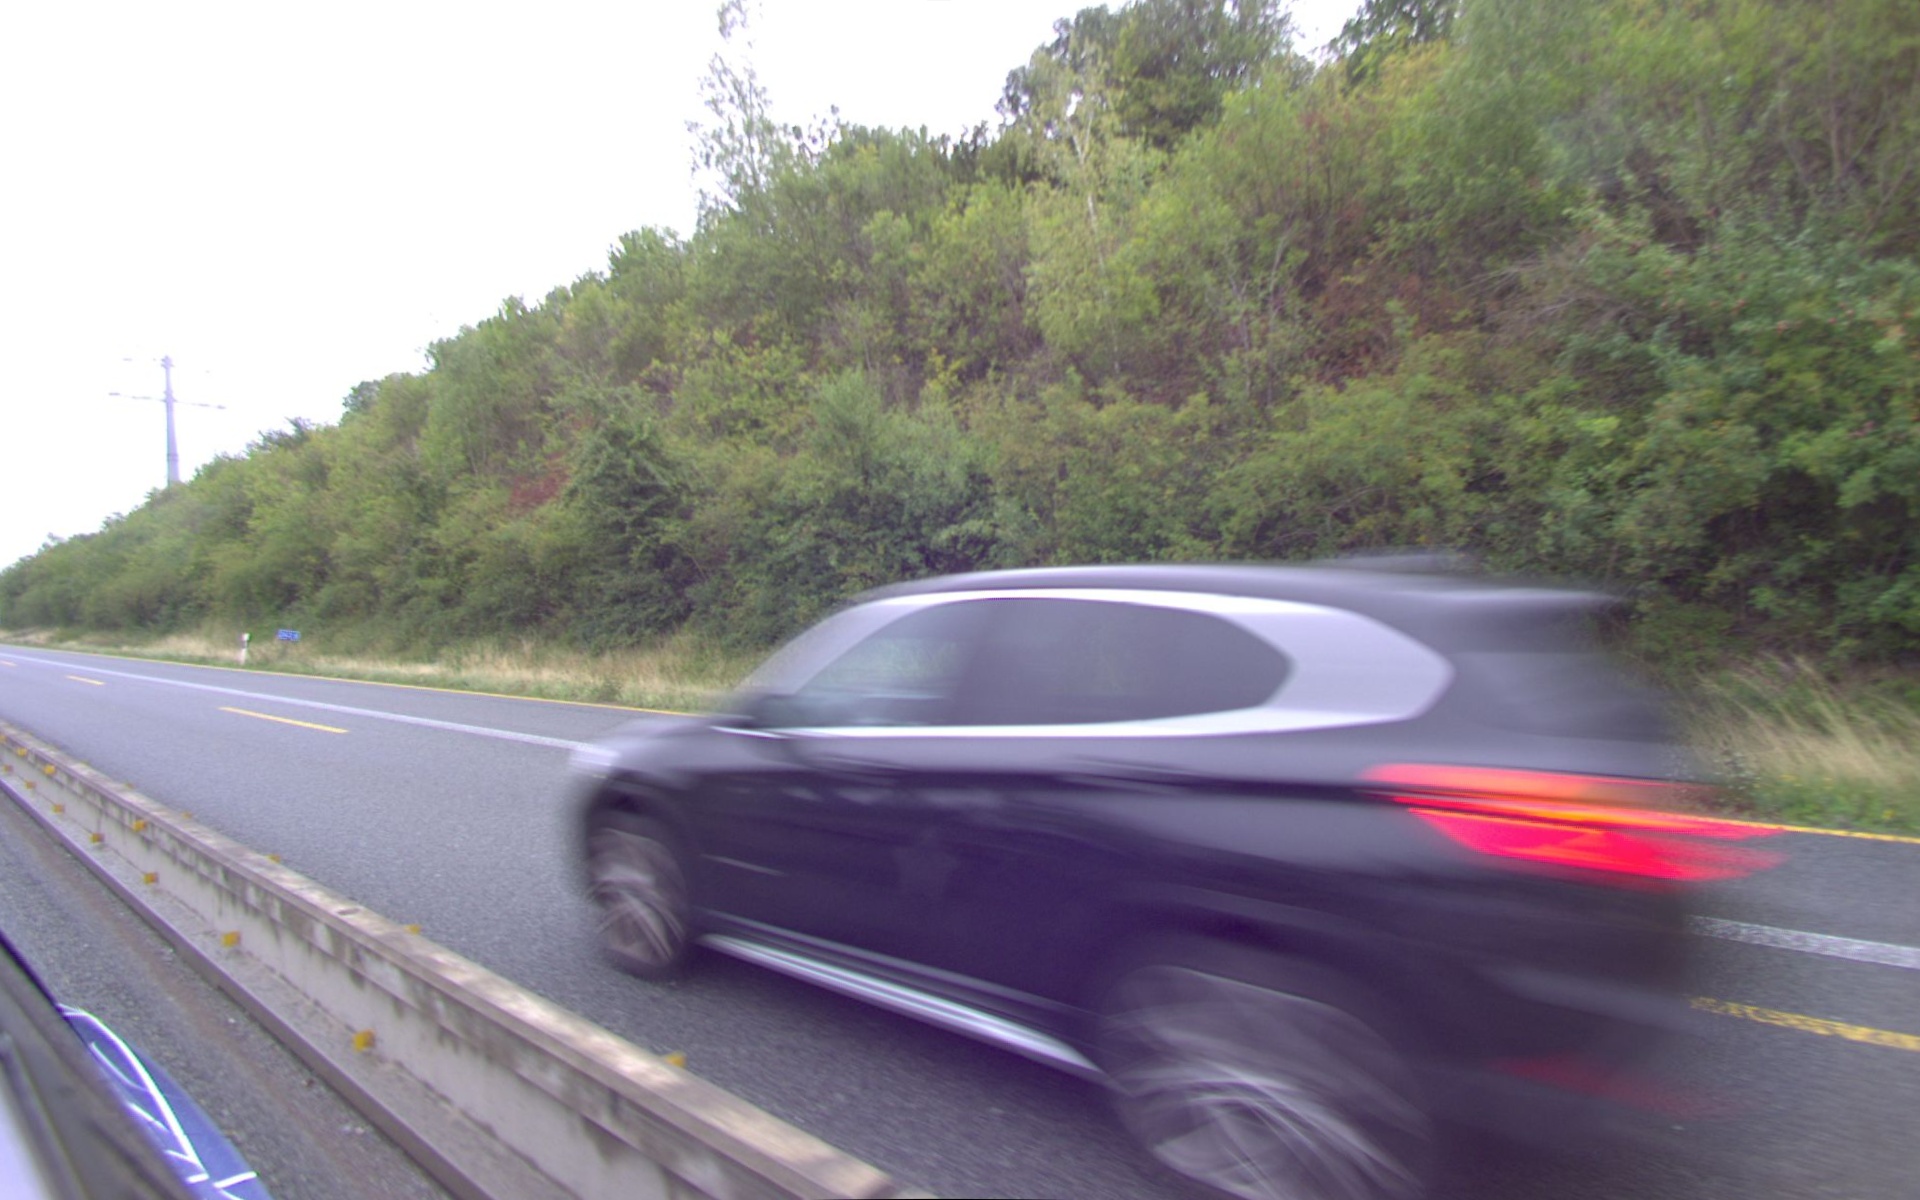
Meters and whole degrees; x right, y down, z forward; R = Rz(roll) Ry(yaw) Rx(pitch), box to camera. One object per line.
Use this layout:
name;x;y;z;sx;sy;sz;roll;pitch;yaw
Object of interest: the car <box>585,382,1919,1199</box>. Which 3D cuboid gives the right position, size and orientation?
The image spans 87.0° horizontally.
car;0.579;0.534;3.407;4.117;1.645;1.790;-1;-1;43
